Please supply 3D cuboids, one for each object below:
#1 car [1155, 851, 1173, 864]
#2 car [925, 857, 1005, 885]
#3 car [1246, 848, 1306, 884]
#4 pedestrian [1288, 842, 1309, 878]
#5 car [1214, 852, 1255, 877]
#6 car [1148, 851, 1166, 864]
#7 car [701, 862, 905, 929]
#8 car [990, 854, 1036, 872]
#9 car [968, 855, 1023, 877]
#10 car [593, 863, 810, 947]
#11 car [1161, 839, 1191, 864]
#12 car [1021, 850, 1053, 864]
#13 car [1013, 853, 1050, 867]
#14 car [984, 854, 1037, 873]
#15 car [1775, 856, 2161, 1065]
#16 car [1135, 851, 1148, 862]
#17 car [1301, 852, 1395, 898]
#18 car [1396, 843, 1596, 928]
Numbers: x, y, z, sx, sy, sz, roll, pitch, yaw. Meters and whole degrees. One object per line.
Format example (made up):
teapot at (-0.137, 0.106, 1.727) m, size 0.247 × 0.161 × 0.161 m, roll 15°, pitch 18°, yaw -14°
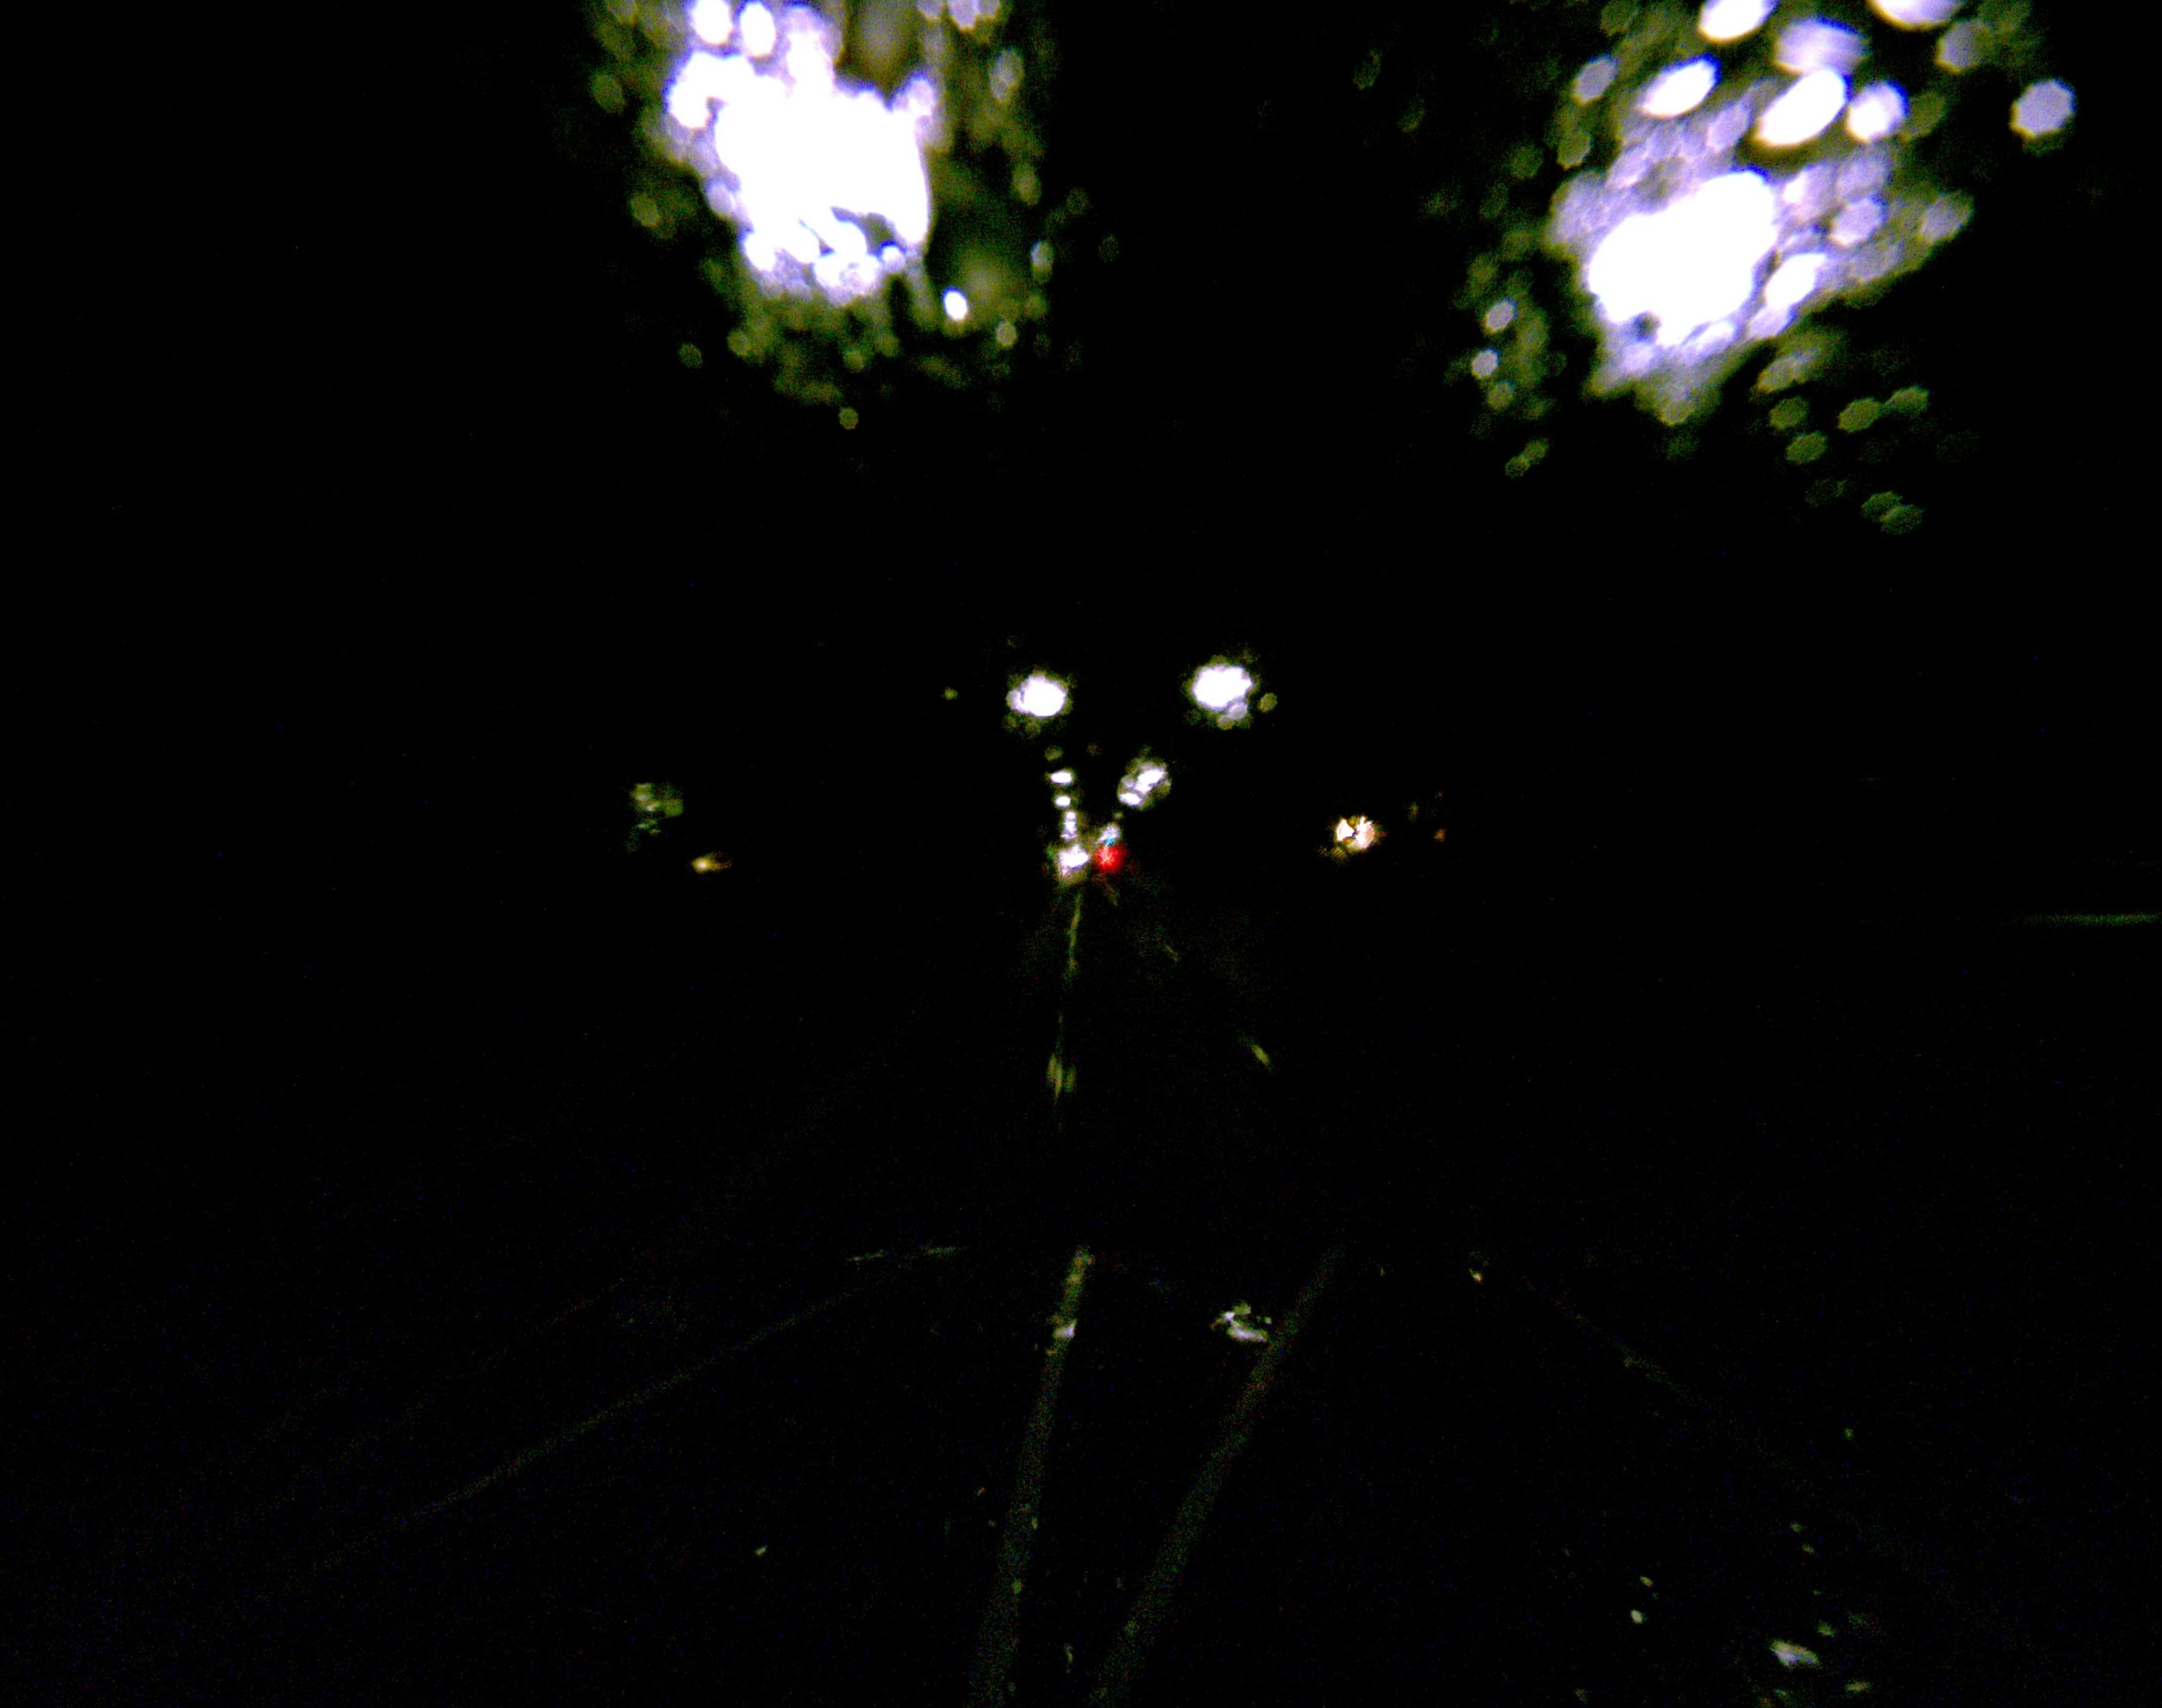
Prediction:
car at (10.115, 0.368, 92.681) m, size 1.720 × 1.399 × 3.389 m, roll -4°, pitch 1°, yaw -1°
car at (-6.835, 0.973, 44.983) m, size 4.349 × 1.459 × 1.677 m, roll -2°, pitch 1°, yaw -38°
car at (9.642, 0.548, 37.935) m, size 1.814 × 1.569 × 4.353 m, roll -4°, pitch 0°, yaw 1°
pedestrian at (11.797, 0.330, 41.247) m, size 0.794 × 1.890 × 1.290 m, roll -2°, pitch 1°, yaw 1°
car at (9.450, 0.618, 47.045) m, size 1.723 × 1.447 × 3.950 m, roll -2°, pitch 1°, yaw 0°
car at (10.088, 0.410, 101.306) m, size 1.846 × 1.573 × 3.663 m, roll -4°, pitch 1°, yaw -1°
car at (-6.861, 0.972, 19.095) m, size 4.604 × 1.467 × 1.837 m, roll 0°, pitch 0°, yaw -19°
car at (-6.285, 0.799, 70.851) m, size 1.658 × 1.473 × 4.194 m, roll -3°, pitch 0°, yaw 42°
car at (-6.448, 0.915, 57.769) m, size 1.707 × 1.503 × 3.914 m, roll -1°, pitch 1°, yaw 44°
car at (-7.531, 0.972, 15.467) m, size 3.708 × 1.509 × 1.656 m, roll 0°, pitch 1°, yaw -18°
car at (9.996, -0.292, 80.311) m, size 2.248 × 2.494 × 5.258 m, roll -4°, pitch 1°, yaw -2°
car at (-6.007, 0.430, 103.573) m, size 3.965 × 1.760 × 1.666 m, roll -2°, pitch 1°, yaw -37°
car at (-5.744, 0.706, 87.899) m, size 4.021 × 1.519 × 1.796 m, roll -2°, pitch 1°, yaw -42°
car at (-5.981, 0.813, 64.815) m, size 4.264 × 1.409 × 1.780 m, roll -2°, pitch 1°, yaw -41°
car at (9.034, 0.817, 6.562) m, size 1.778 × 1.432 × 4.607 m, roll -4°, pitch 1°, yaw -1°
car at (9.739, 0.378, 122.433) m, size 1.693 × 1.566 × 3.918 m, roll -2°, pitch 1°, yaw 1°
car at (9.402, 0.684, 27.155) m, size 1.735 × 1.430 × 4.625 m, roll -2°, pitch 1°, yaw 1°
car at (9.517, 0.620, 17.971) m, size 2.149 × 1.610 × 4.588 m, roll -4°, pitch 1°, yaw 0°
